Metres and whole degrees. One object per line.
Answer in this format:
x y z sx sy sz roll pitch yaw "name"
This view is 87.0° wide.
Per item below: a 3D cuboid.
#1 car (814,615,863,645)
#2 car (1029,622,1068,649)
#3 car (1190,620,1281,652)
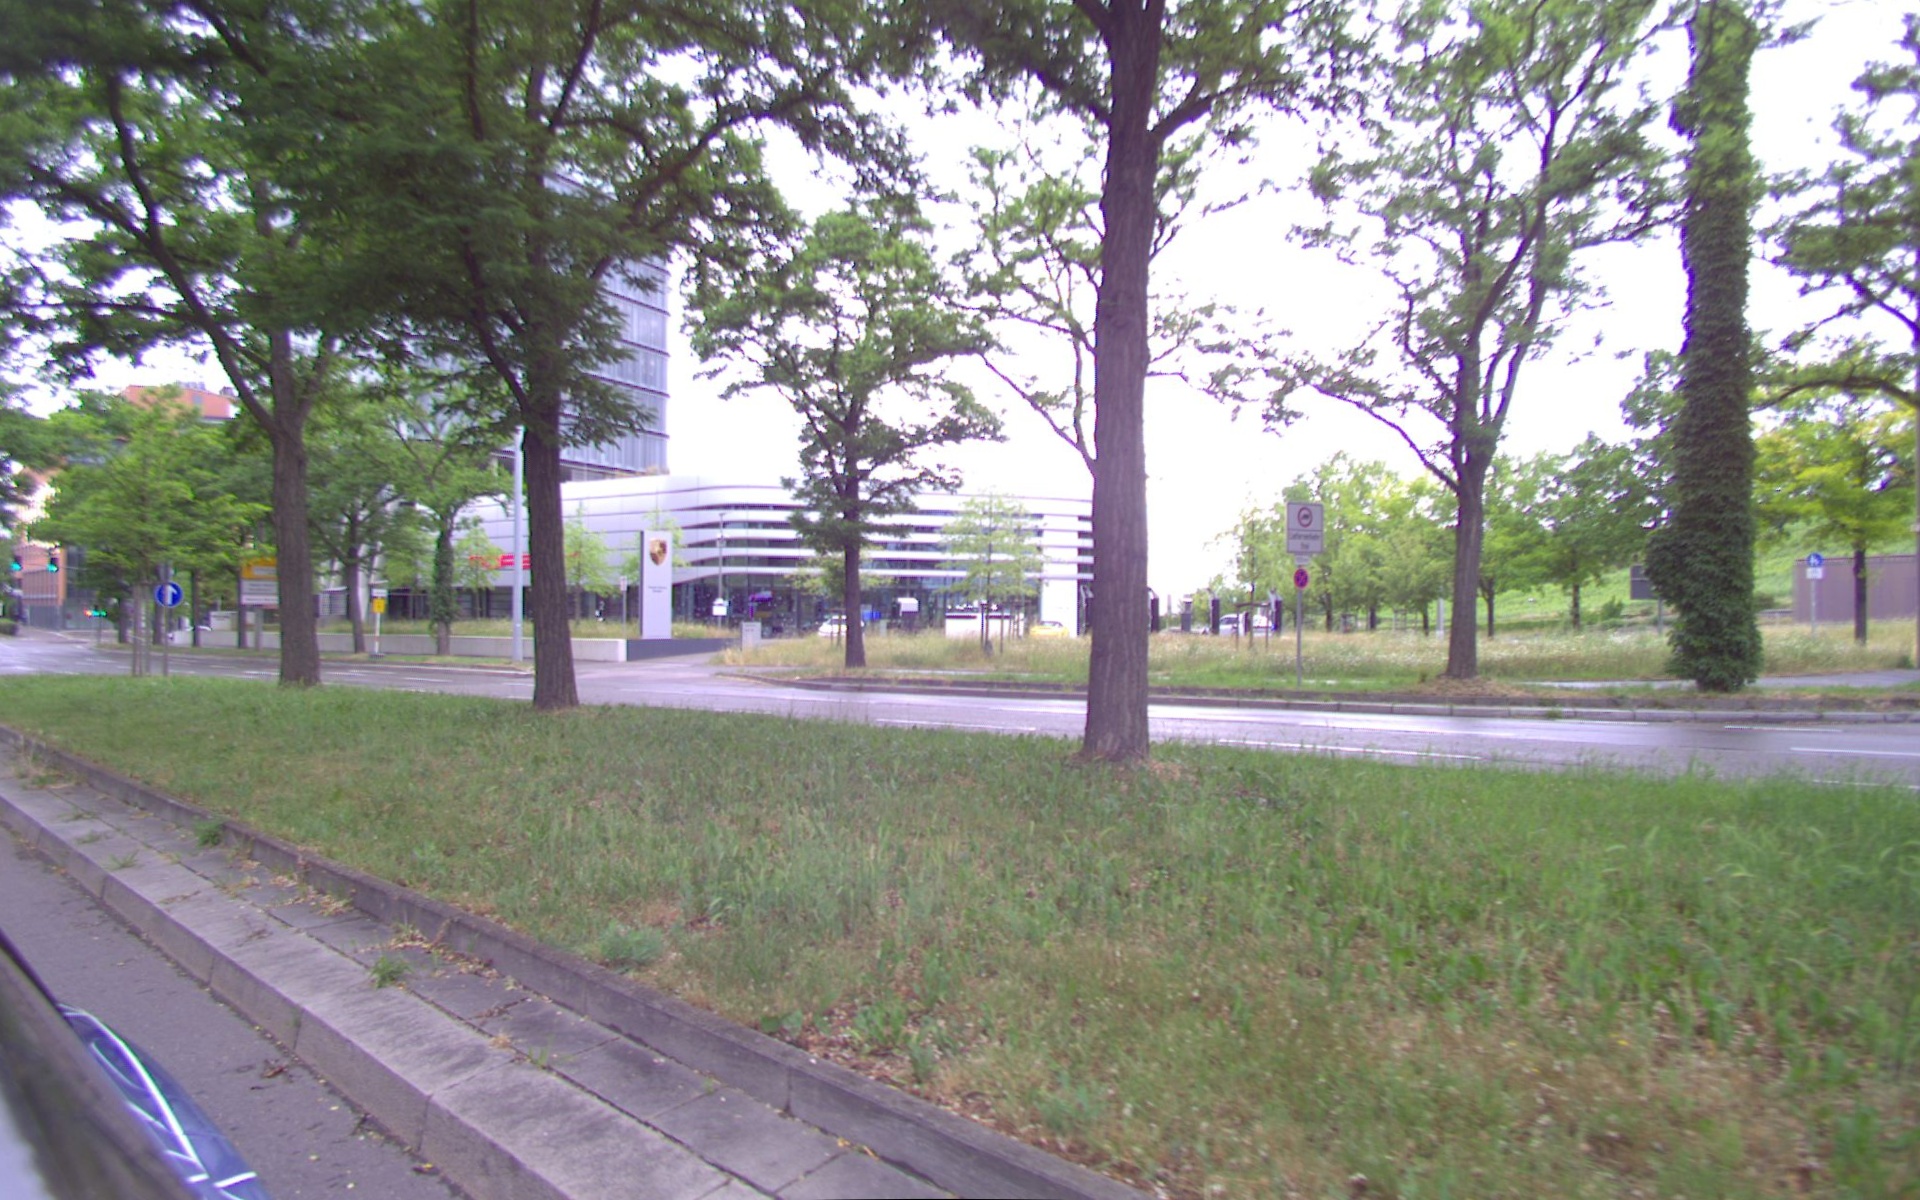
-6.658 1.615 55.881 1.757 1.423 3.992 -1 1 7 "car"
5.182 2.008 58.654 1.605 1.333 3.981 -1 1 15 "car"
12.531 1.621 46.236 1.592 1.254 4.012 -2 1 -30 "car"
